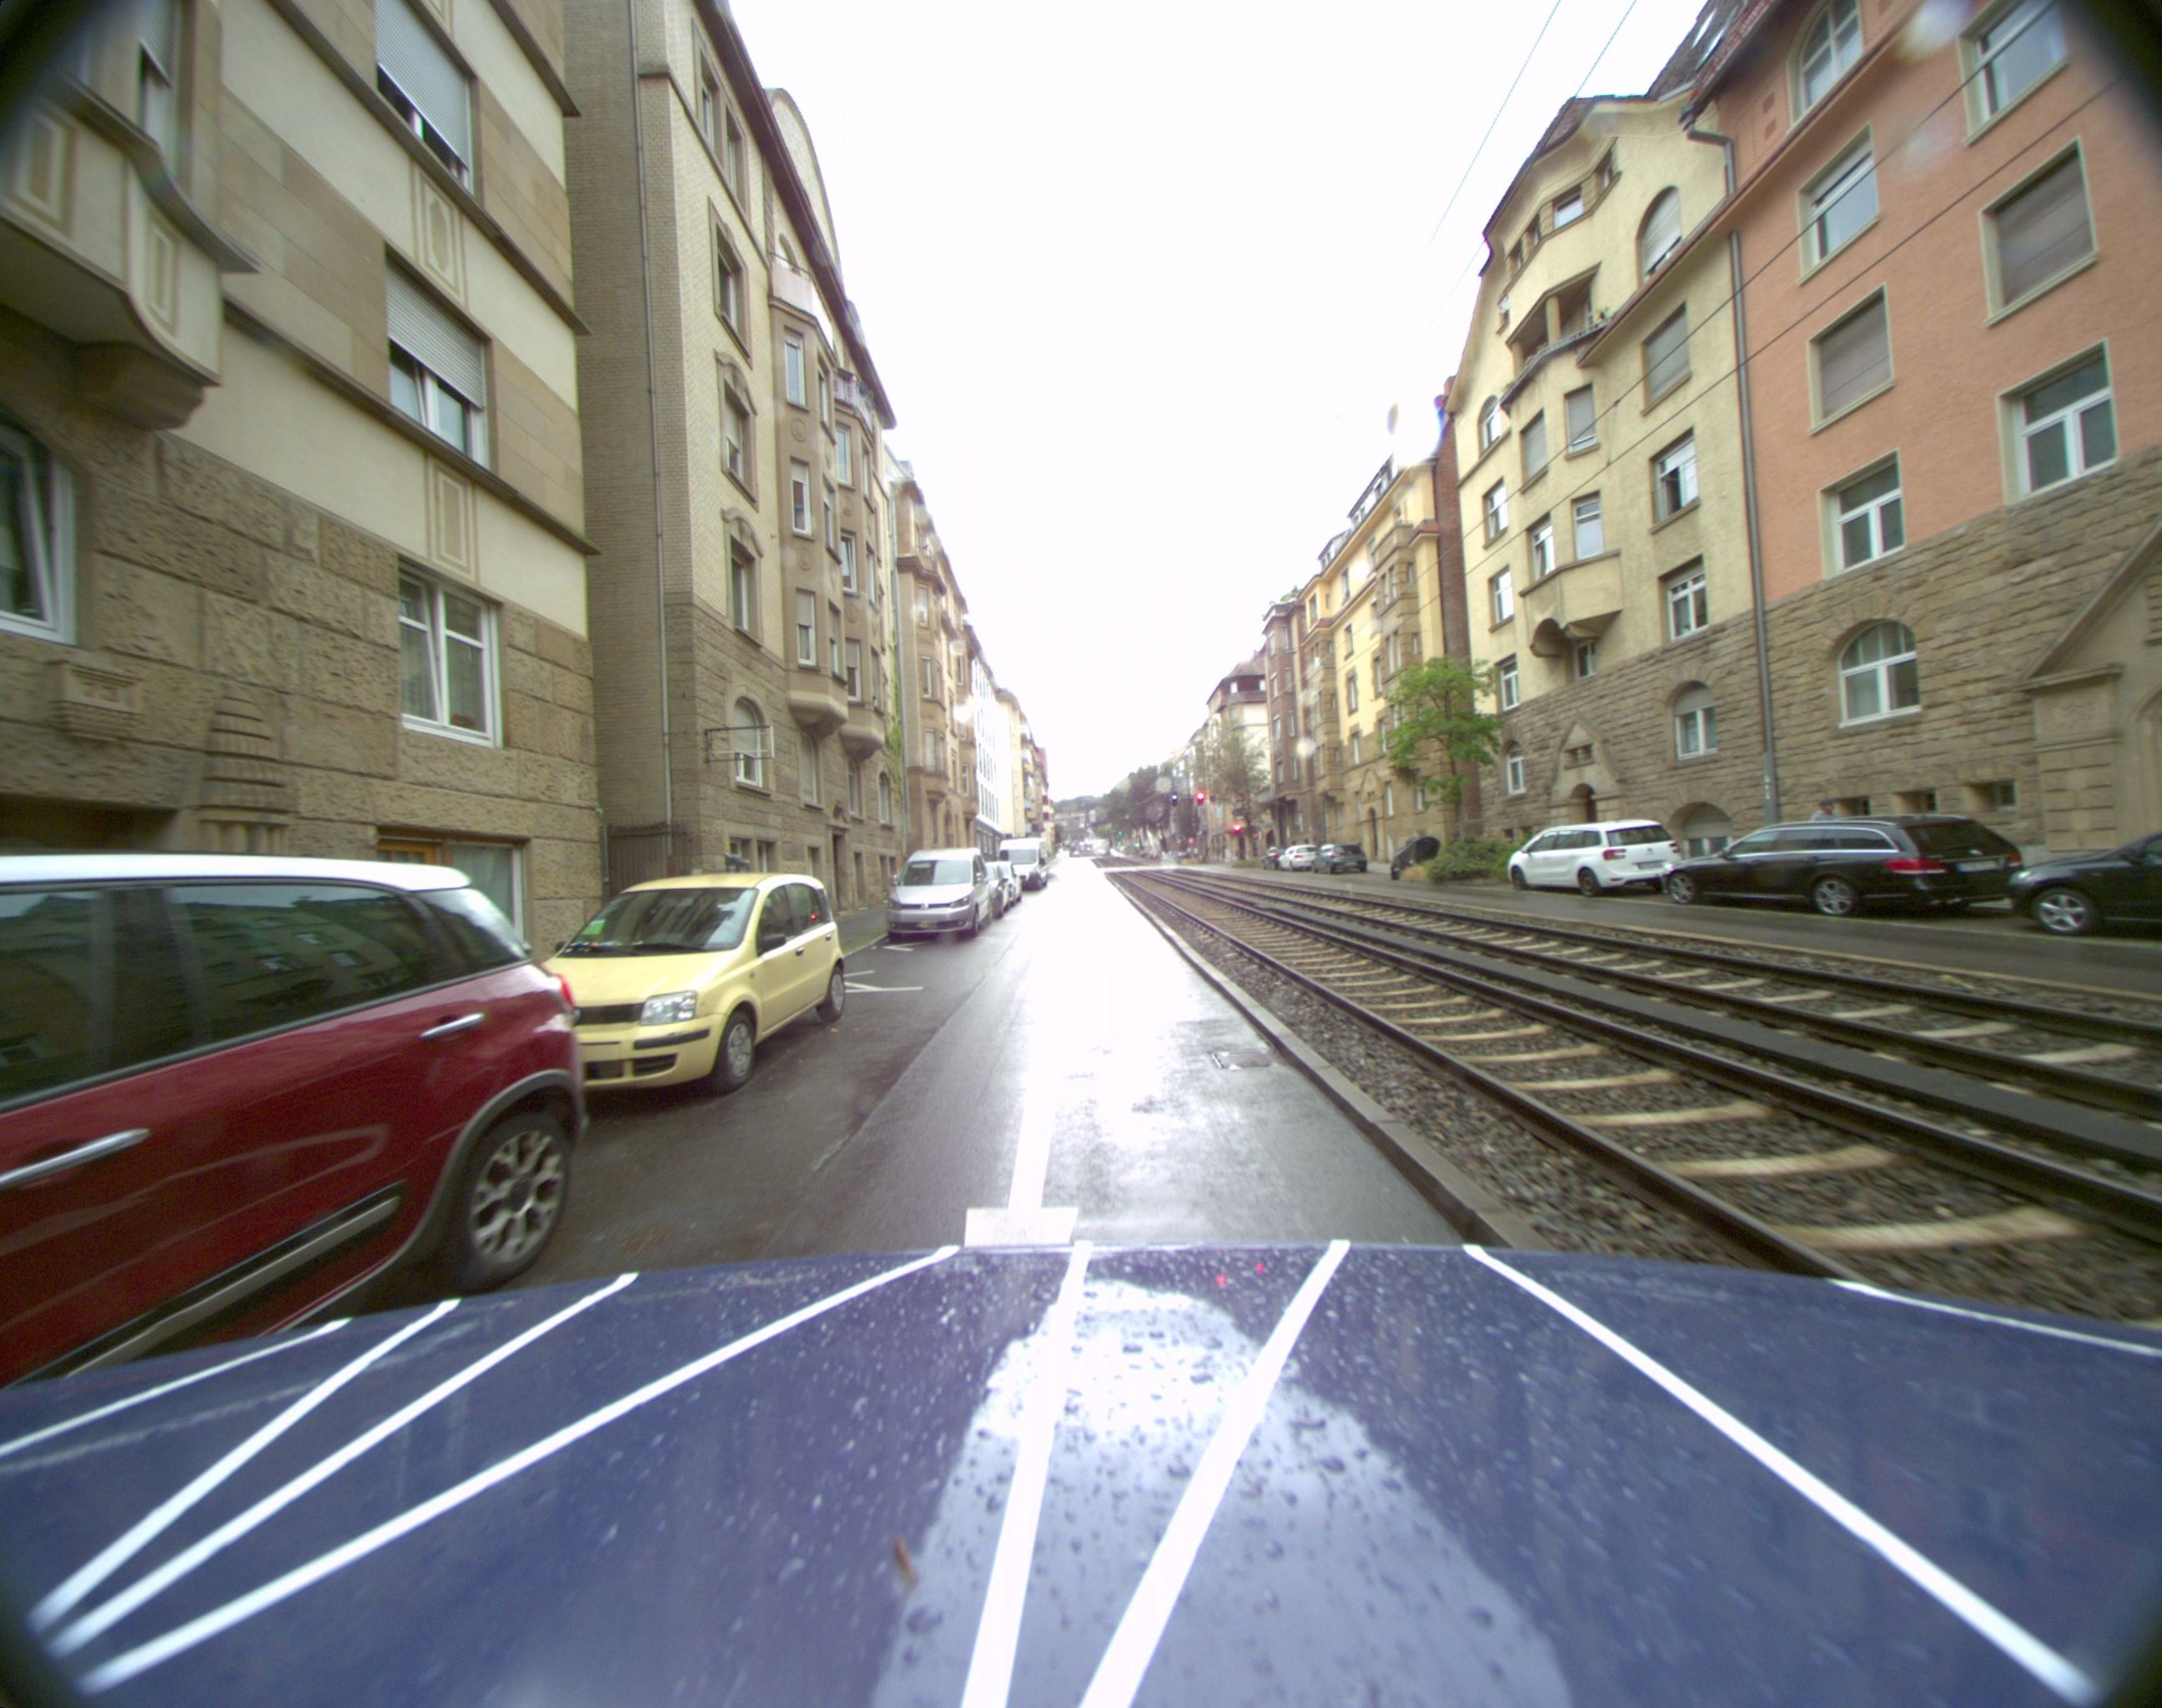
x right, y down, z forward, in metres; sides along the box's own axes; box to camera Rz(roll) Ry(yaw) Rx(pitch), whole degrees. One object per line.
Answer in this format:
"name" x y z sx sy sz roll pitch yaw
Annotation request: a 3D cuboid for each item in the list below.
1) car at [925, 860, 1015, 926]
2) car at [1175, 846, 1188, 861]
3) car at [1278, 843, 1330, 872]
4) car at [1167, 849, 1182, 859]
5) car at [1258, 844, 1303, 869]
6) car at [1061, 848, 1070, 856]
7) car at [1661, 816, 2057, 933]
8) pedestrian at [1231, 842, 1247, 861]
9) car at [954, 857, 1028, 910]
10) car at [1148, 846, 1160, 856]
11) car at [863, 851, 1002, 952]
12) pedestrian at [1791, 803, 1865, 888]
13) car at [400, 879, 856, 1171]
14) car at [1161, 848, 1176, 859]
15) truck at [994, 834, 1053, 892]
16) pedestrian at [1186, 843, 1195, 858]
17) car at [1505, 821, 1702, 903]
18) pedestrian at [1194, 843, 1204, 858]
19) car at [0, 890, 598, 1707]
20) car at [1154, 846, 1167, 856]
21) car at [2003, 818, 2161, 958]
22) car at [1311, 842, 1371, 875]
"car" -2.951 0.981 21.044 1.999 1.521 3.999 -3 0 -3
"car" 12.786 -0.121 96.755 1.583 1.669 3.791 -3 2 7
"car" 12.514 0.181 42.862 1.771 1.433 4.031 -3 0 2
"car" 12.697 0.032 103.593 1.583 1.303 3.845 -3 0 1
"car" 12.531 0.133 47.957 1.771 1.433 3.845 -3 0 1
"car" -3.940 -0.588 191.588 1.998 1.838 4.000 -3 0 1
"car" 12.293 0.277 12.593 1.847 1.486 4.601 -3 0 1
"pedestrian" 16.588 -0.259 79.727 1.160 1.946 1.058 -3 1 36
"car" -2.934 0.928 25.545 1.891 1.521 3.929 -3 0 1
"car" 12.595 -0.484 130.915 1.632 1.536 3.801 -3 0 1
"car" -3.003 0.886 16.428 1.968 1.792 4.459 -3 0 1
"pedestrian" 14.798 -0.167 15.070 0.701 1.633 0.765 -2 1 1
"car" -3.196 1.068 6.269 1.580 1.520 3.578 -3 0 -1
"car" 13.005 -0.147 112.575 1.771 1.507 3.845 -3 0 1
"truck" -2.689 0.401 37.174 2.235 2.521 6.143 -3 0 1
"pedestrian" 14.983 -0.459 103.869 1.056 1.946 1.163 -3 1 2
"car" 12.282 0.170 18.255 1.867 1.646 4.146 -3 0 1
"pedestrian" 16.130 -0.500 103.861 1.056 1.946 1.163 -3 1 2
"car" -3.047 0.999 1.320 1.807 1.590 3.999 -3 0 -1
"car" 12.989 -0.492 124.046 1.657 1.589 3.775 -3 0 1
"car" 12.523 0.339 7.674 1.935 1.488 3.642 -2 1 -2
"car" 12.538 0.185 36.823 1.678 1.433 3.845 -4 1 3
